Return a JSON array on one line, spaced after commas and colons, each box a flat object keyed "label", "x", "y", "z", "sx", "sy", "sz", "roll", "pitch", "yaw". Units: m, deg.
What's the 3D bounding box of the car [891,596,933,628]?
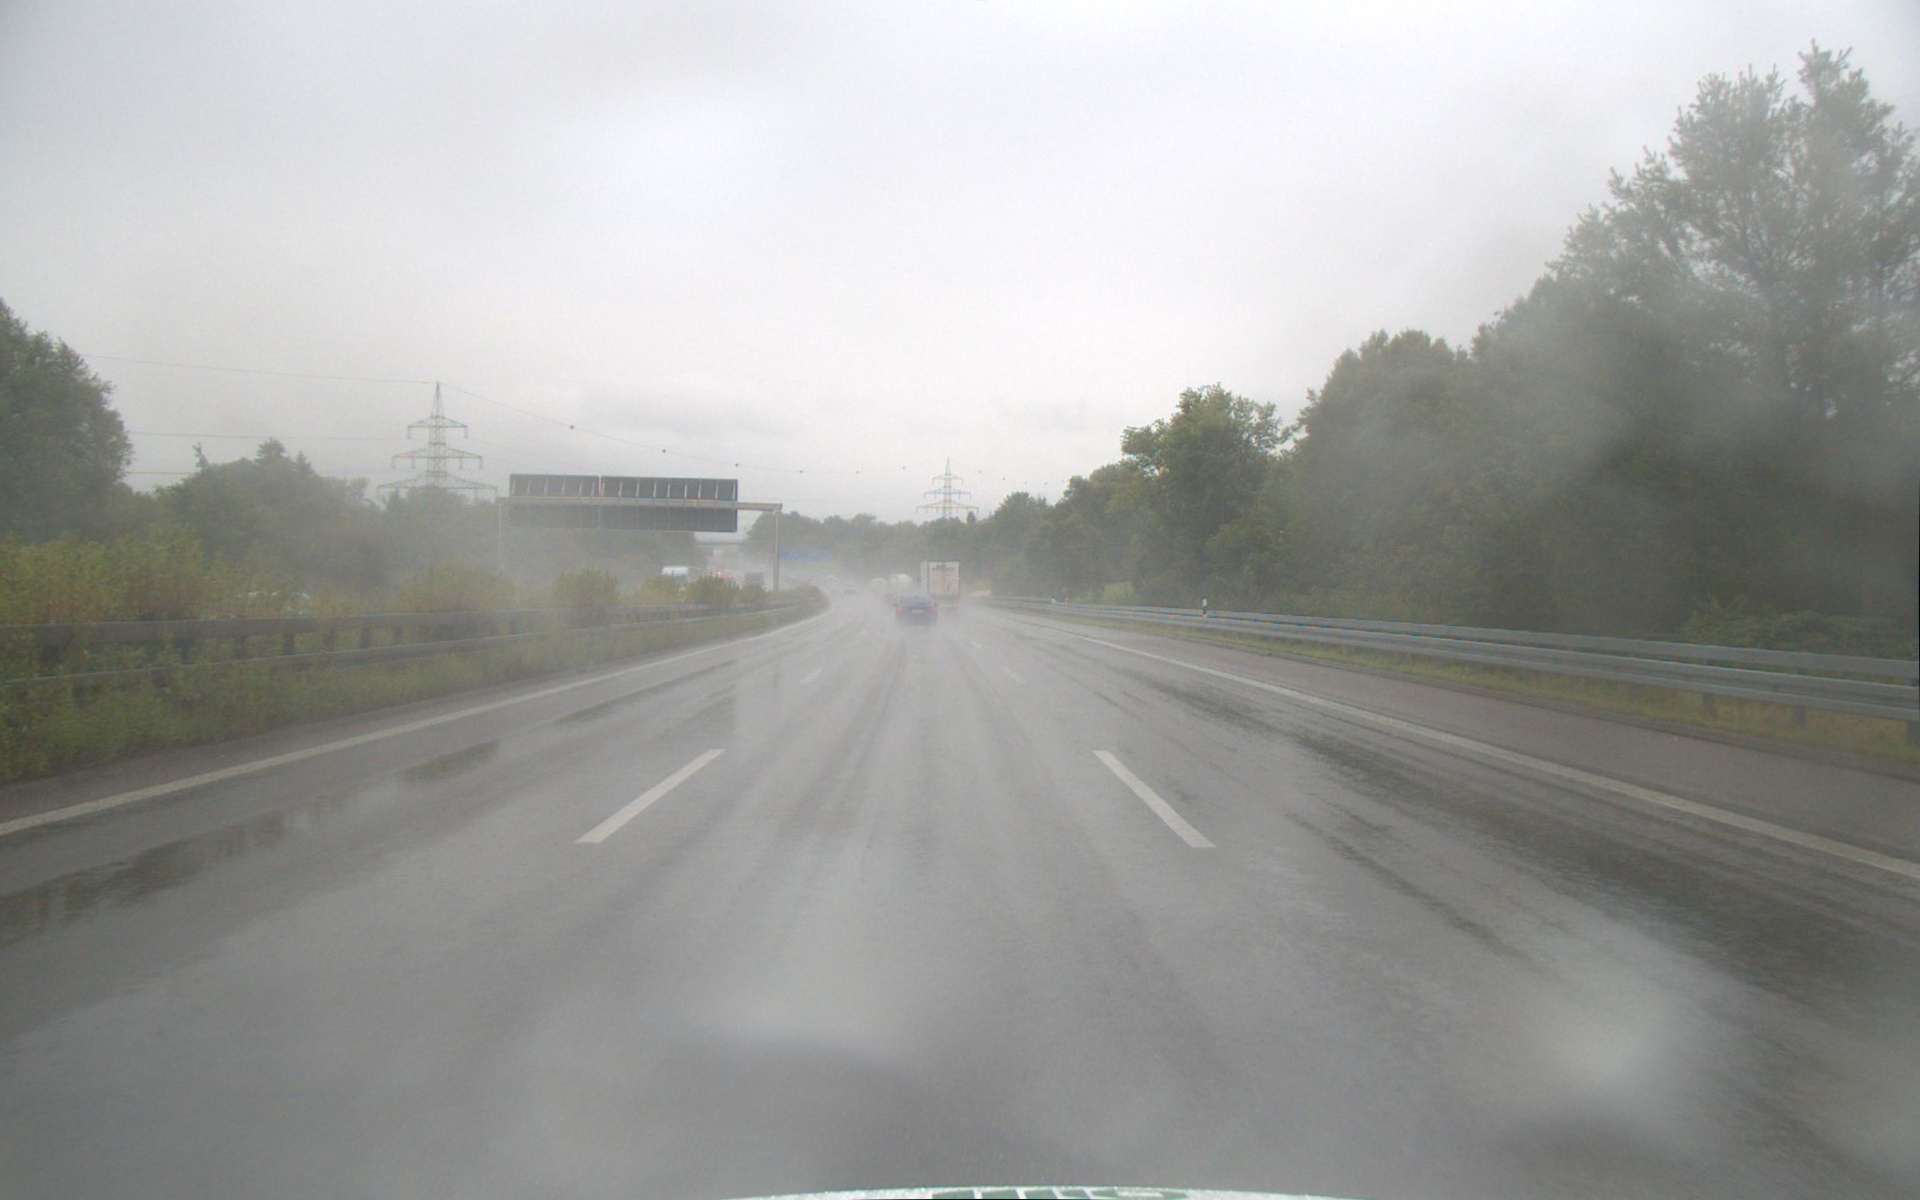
[{"label": "car", "x": -2.031, "y": 0.509, "z": 70.956, "sx": 1.713, "sy": 1.233, "sz": 3.999, "roll": 2, "pitch": 0, "yaw": -1}]

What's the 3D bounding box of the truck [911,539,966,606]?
[{"label": "truck", "x": -1.927, "y": -2.261, "z": 136.426, "sx": 4.171, "sy": 5.058, "sz": 17.336, "roll": -1, "pitch": 1, "yaw": -2}]

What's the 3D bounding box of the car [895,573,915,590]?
[{"label": "car", "x": -7.603, "y": -2.581, "z": 227.610, "sx": 2.348, "sy": 2.312, "sz": 4.995, "roll": 1, "pitch": 1, "yaw": -7}]
